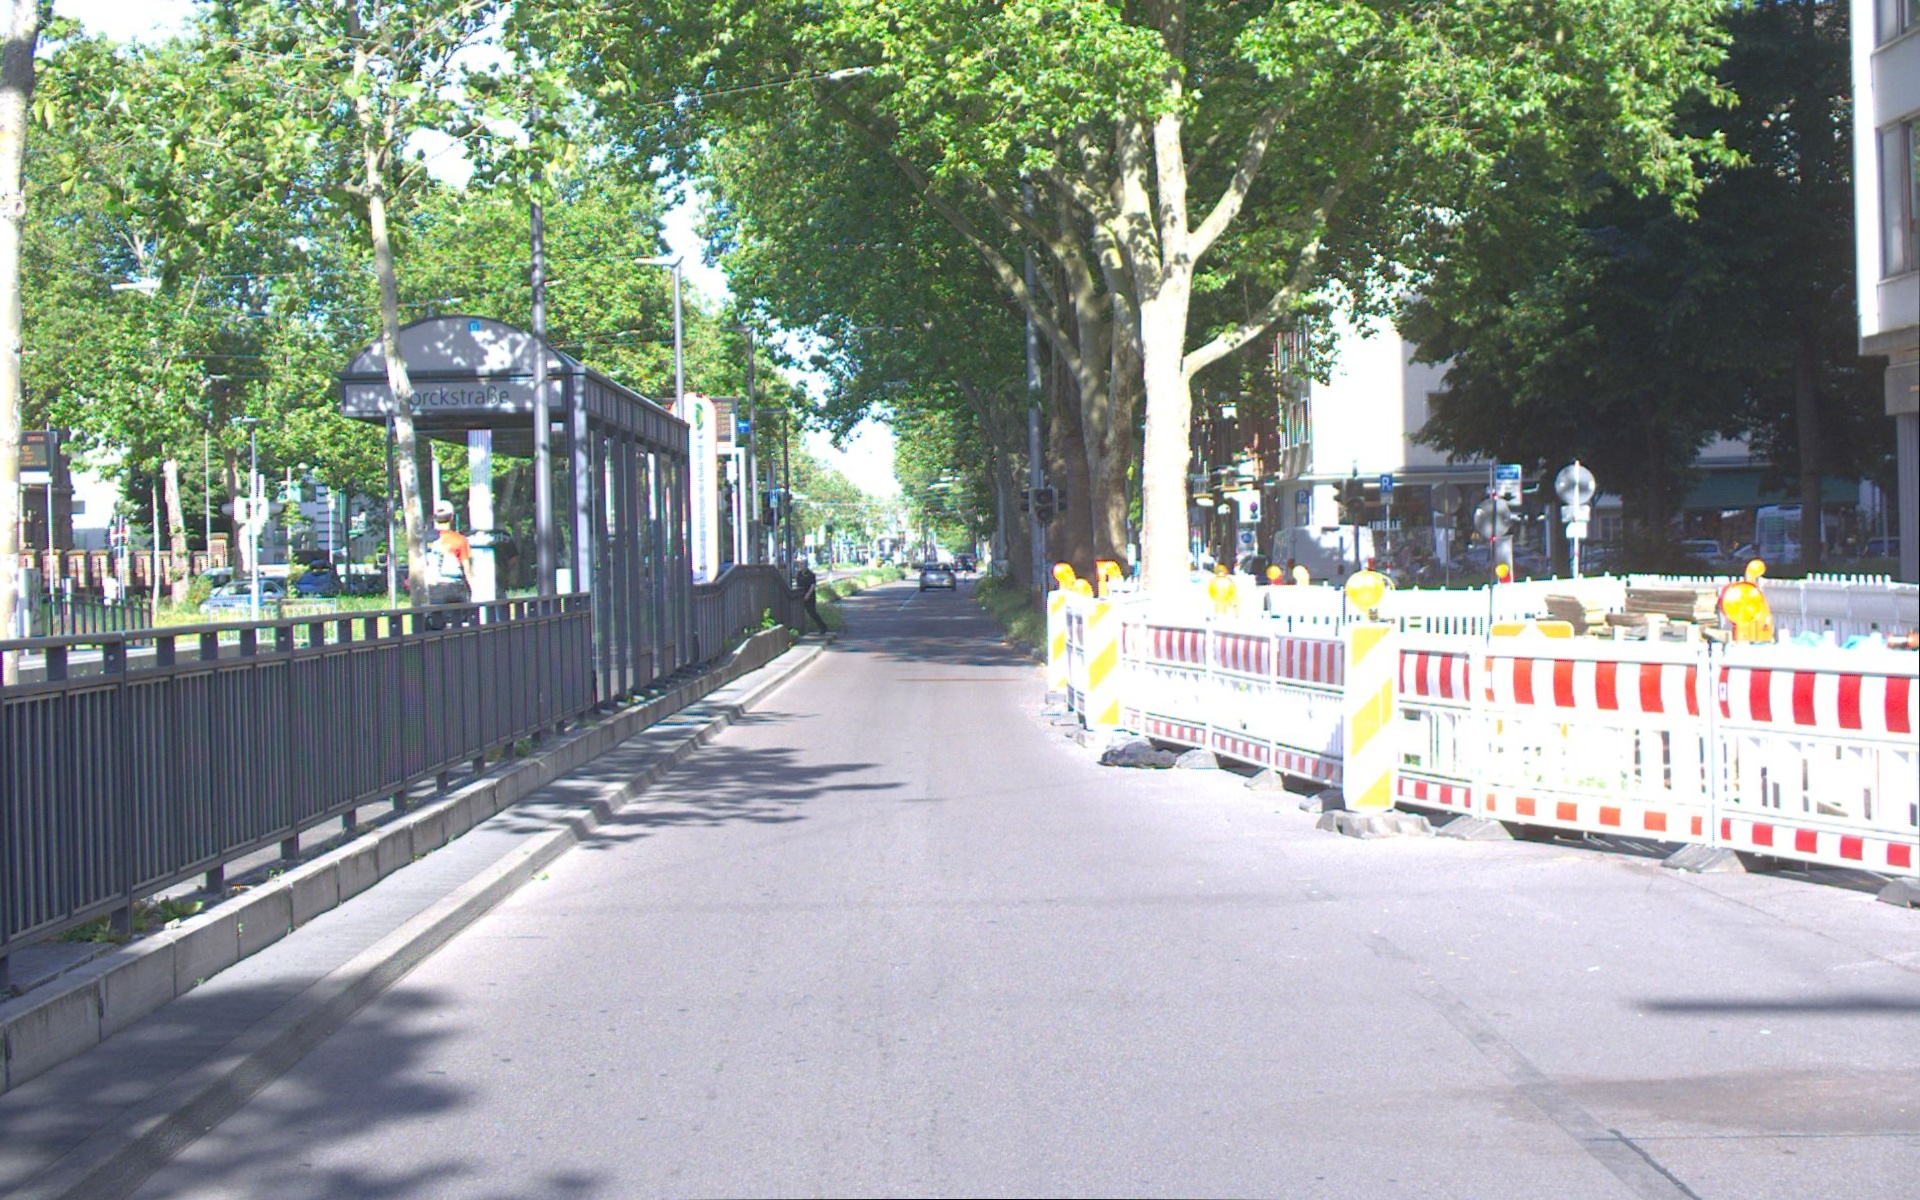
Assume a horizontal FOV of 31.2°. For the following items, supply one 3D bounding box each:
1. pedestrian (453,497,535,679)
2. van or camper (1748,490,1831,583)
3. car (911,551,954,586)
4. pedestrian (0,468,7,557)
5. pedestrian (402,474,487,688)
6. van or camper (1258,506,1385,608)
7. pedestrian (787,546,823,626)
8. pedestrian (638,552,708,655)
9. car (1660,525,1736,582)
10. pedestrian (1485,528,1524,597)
[{"bbox_3d":[-4.634,-0.125,34.217,0.682,1.778,0.754,-1,1,1],"label":"pedestrian"},{"bbox_3d":[24.472,-1.873,101.277,2.148,2.627,5.584,-1,1,15],"label":"van or camper"},{"bbox_3d":[-1.327,-1.549,167.032,2.021,1.656,4.000,-1,1,-1],"label":"car"},{"bbox_3d":[-19.157,-1.700,66.933,0.953,1.730,0.730,-1,1,2],"label":"pedestrian"},{"bbox_3d":[-4.892,-0.182,32.637,0.667,2.007,0.716,-1,1,1],"label":"pedestrian"},{"bbox_3d":[8.429,-1.003,80.644,2.291,2.279,5.823,-1,1,-1],"label":"van or camper"},{"bbox_3d":[-3.278,-0.294,72.785,0.712,1.674,0.772,-1,1,-1],"label":"pedestrian"},{"bbox_3d":[-3.321,0.032,39.878,0.752,1.175,0.812,-1,1,-1],"label":"pedestrian"},{"bbox_3d":[21.870,-1.385,101.795,1.995,1.622,4.387,-1,1,15],"label":"car"},{"bbox_3d":[12.852,-0.880,81.166,0.732,1.611,1.035,-1,1,0],"label":"pedestrian"}]
